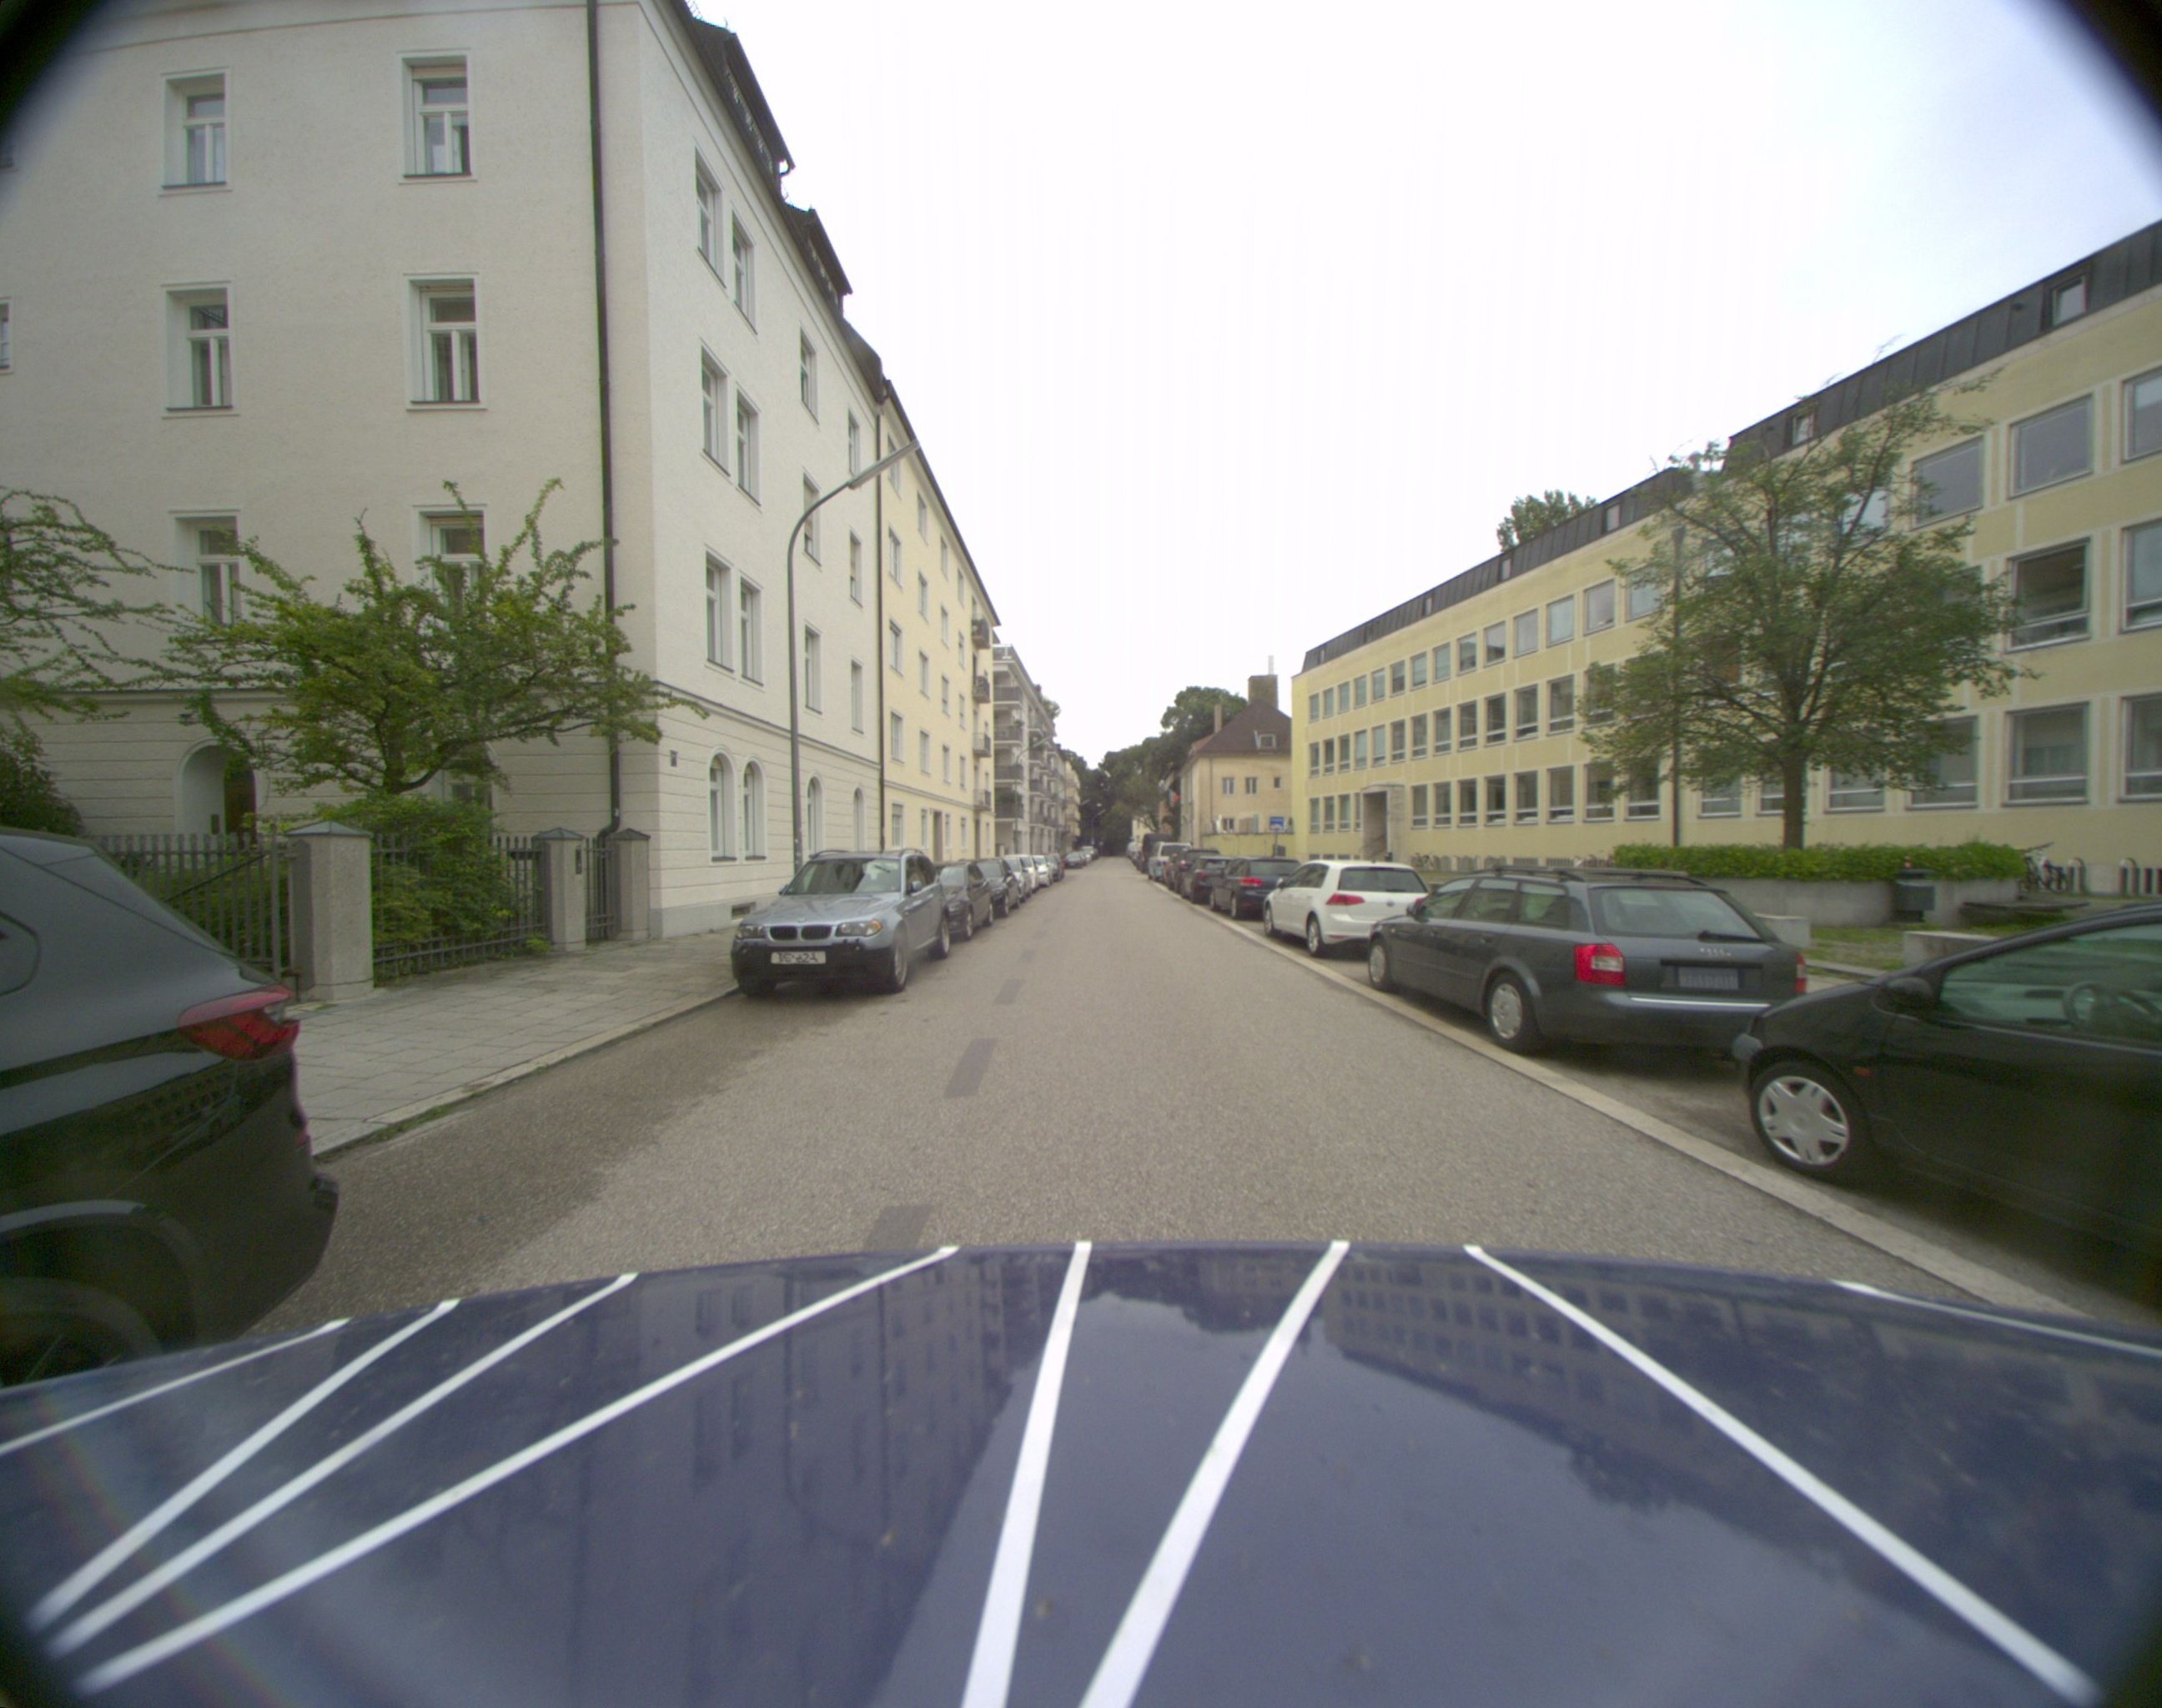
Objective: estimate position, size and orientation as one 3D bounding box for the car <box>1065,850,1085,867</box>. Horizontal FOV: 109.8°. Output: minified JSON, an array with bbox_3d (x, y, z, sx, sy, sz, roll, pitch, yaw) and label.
[{"bbox_3d":[-0.571,0.372,69.301,1.784,1.386,4.245,-1,1,-1],"label":"car"}]

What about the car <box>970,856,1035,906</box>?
[{"bbox_3d":[-2.503,0.830,25.058,1.683,1.419,4.166,-1,1,0],"label":"car"}]

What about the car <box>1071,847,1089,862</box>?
[{"bbox_3d":[-0.050,0.015,78.774,1.766,1.449,3.747,-1,1,2],"label":"car"}]

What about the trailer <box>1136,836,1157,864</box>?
[{"bbox_3d":[6.375,-0.383,73.553,1.816,2.521,3.390,3,2,7],"label":"trailer"}]

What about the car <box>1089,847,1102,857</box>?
[{"bbox_3d":[2.373,-0.370,121.623,1.871,1.455,4.268,-1,1,3],"label":"car"}]

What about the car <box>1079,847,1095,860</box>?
[{"bbox_3d":[0.742,-0.101,90.655,1.766,1.449,3.747,-1,1,2],"label":"car"}]

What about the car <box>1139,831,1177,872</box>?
[{"bbox_3d":[5.191,-0.175,51.975,2.302,2.630,5.654,1,1,3],"label":"car"}]

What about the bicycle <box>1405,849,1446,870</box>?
[{"bbox_3d":[17.362,0.274,38.301,1.954,1.008,0.580,-2,1,-15],"label":"bicycle"}]

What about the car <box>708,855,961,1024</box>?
[{"bbox_3d":[-2.853,0.874,9.932,1.726,1.625,4.457,-1,1,1],"label":"car"}]

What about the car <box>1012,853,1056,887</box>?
[{"bbox_3d":[-2.119,0.684,35.271,1.683,1.402,4.442,-1,1,1],"label":"car"}]

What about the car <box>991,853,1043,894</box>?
[{"bbox_3d":[-2.487,0.727,30.502,1.683,1.473,4.166,-1,1,0],"label":"car"}]

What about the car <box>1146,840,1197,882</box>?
[{"bbox_3d":[4.550,0.305,38.875,1.933,1.968,5.021,0,1,-1],"label":"car"}]

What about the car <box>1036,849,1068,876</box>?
[{"bbox_3d":[-1.723,0.490,45.945,1.683,1.489,3.823,-1,1,1],"label":"car"}]

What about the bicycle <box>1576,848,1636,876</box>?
[{"bbox_3d":[19.827,0.296,28.719,1.953,1.008,0.625,-1,1,-8],"label":"bicycle"}]

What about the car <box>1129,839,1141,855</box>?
[{"bbox_3d":[8.777,-1.206,122.731,1.880,2.539,4.370,-1,1,4],"label":"car"}]

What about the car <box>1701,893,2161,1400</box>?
[{"bbox_3d":[4.141,0.957,2.352,1.661,1.445,3.311,1,1,-1],"label":"car"}]

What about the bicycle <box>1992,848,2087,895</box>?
[{"bbox_3d":[21.904,0.393,17.366,1.954,1.008,0.624,-1,1,-15],"label":"bicycle"}]

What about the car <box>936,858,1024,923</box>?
[{"bbox_3d":[-2.541,0.863,20.028,1.683,1.419,4.390,-1,1,0],"label":"car"}]

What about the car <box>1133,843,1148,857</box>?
[{"bbox_3d":[7.516,-0.486,95.984,1.817,1.724,3.649,-1,1,3],"label":"car"}]

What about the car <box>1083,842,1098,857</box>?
[{"bbox_3d":[1.375,-0.618,105.861,1.871,2.002,4.268,-1,1,3],"label":"car"}]

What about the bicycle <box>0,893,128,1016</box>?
[{"bbox_3d":[-10.729,0.968,7.604,1.875,1.088,0.581,1,2,8],"label":"bicycle"}]

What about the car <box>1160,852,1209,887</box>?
[{"bbox_3d":[4.582,0.661,34.134,1.748,1.379,3.918,-2,1,2],"label":"car"}]

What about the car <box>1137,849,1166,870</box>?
[{"bbox_3d":[5.282,0.369,57.057,1.706,1.485,3.488,-1,1,-3],"label":"car"}]

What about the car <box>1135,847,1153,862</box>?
[{"bbox_3d":[6.551,0.004,79.016,1.767,1.505,3.842,0,1,3],"label":"car"}]

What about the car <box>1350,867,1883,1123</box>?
[{"bbox_3d":[4.104,0.917,6.924,1.759,1.445,4.395,1,1,1],"label":"car"}]

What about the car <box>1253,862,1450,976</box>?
[{"bbox_3d":[4.140,0.903,12.386,1.661,1.445,4.072,1,1,-1],"label":"car"}]

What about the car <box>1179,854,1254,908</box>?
[{"bbox_3d":[4.090,0.766,23.485,1.684,1.445,3.869,1,1,1],"label":"car"}]

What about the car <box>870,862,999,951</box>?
[{"bbox_3d":[-2.746,0.925,15.138,1.683,1.419,4.086,-1,1,1],"label":"car"}]

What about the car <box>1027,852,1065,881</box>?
[{"bbox_3d":[-1.822,0.639,40.543,1.683,1.402,4.421,-1,1,1],"label":"car"}]

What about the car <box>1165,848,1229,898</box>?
[{"bbox_3d":[4.293,0.632,28.816,1.748,1.656,4.448,3,1,1],"label":"car"}]

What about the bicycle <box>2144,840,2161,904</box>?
[{"bbox_3d":[22.213,0.336,14.746,2.444,1.241,1.055,-1,1,-15],"label":"bicycle"}]

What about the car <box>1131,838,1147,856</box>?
[{"bbox_3d":[8.093,-1.030,106.274,2.104,2.418,4.550,-1,1,4],"label":"car"}]

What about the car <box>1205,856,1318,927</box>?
[{"bbox_3d":[4.209,0.819,18.331,1.661,1.445,3.973,1,1,-1],"label":"car"}]
